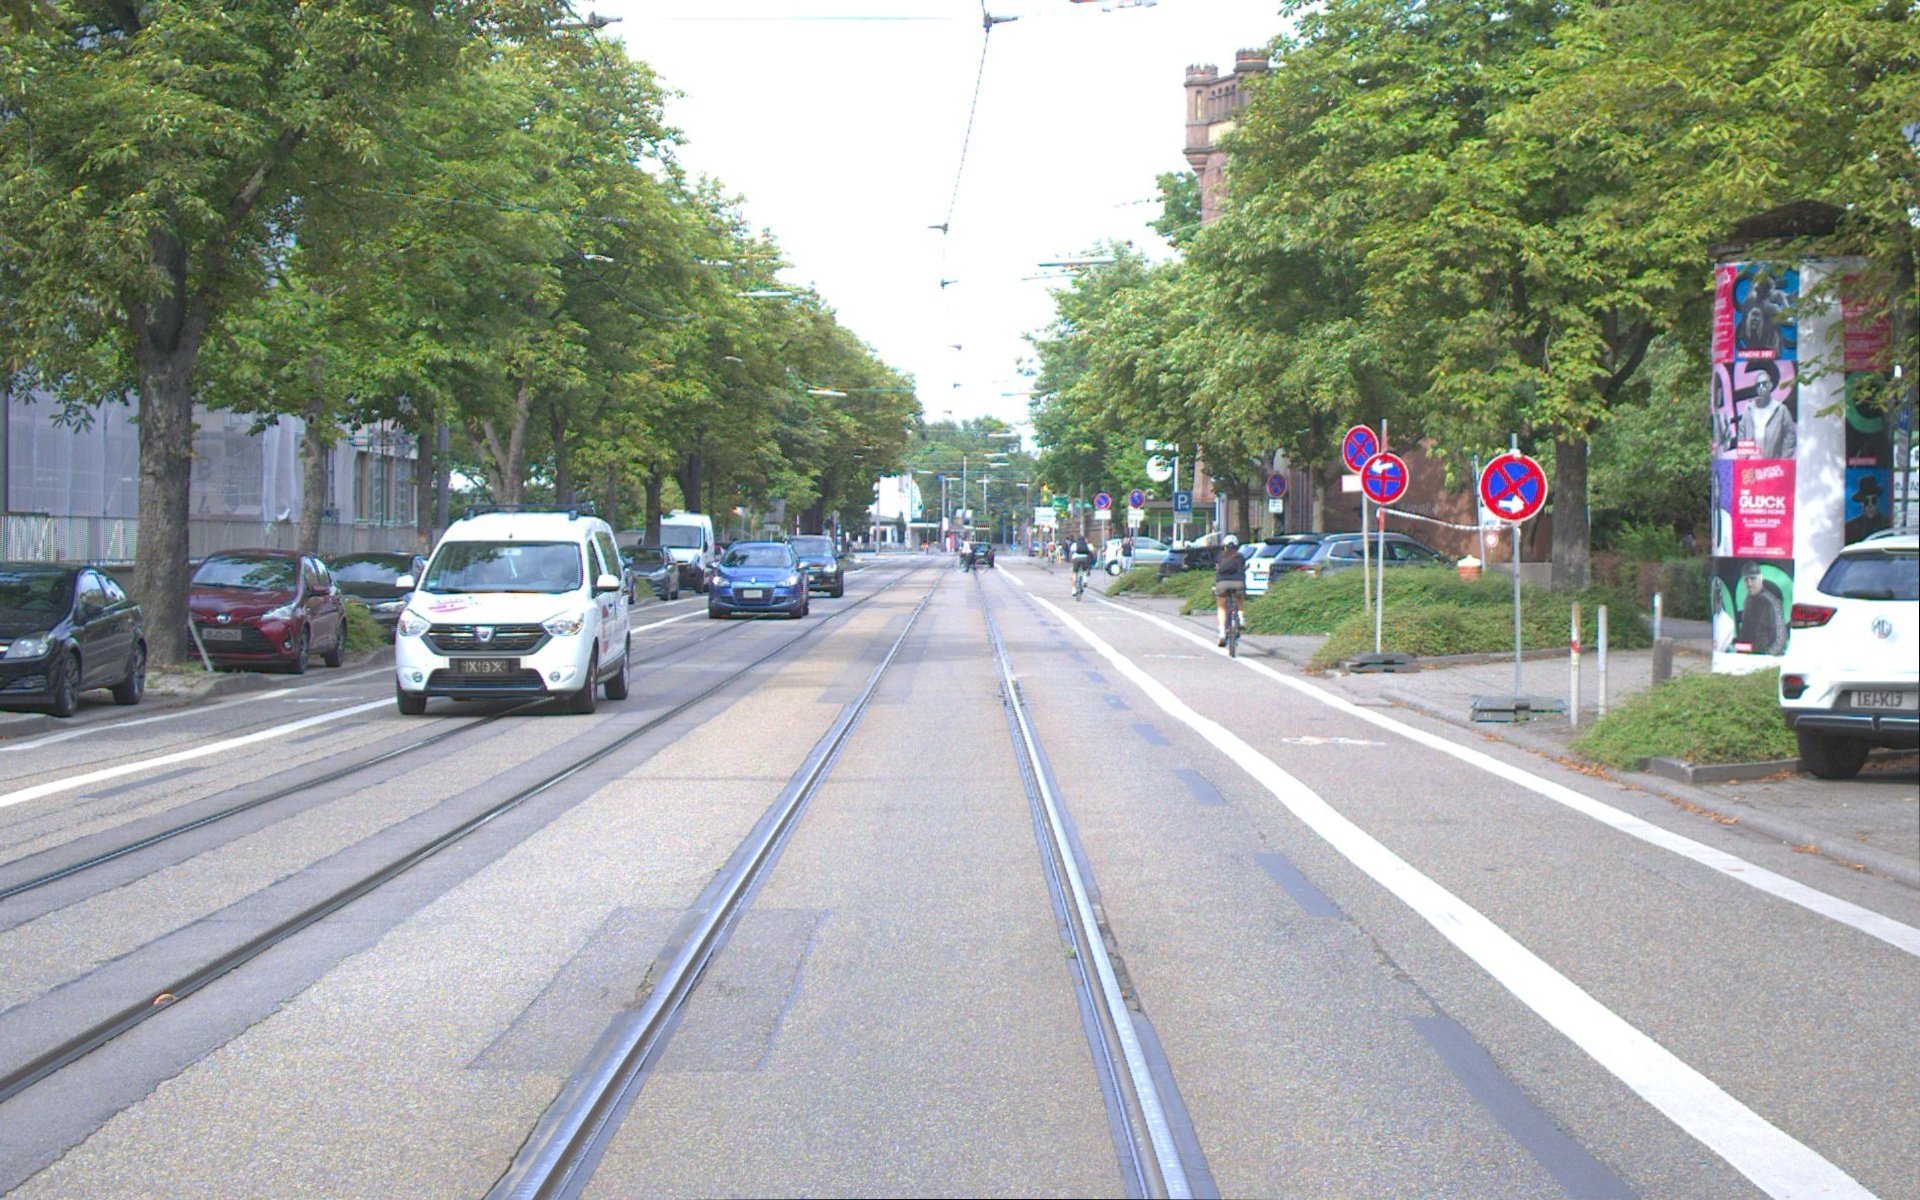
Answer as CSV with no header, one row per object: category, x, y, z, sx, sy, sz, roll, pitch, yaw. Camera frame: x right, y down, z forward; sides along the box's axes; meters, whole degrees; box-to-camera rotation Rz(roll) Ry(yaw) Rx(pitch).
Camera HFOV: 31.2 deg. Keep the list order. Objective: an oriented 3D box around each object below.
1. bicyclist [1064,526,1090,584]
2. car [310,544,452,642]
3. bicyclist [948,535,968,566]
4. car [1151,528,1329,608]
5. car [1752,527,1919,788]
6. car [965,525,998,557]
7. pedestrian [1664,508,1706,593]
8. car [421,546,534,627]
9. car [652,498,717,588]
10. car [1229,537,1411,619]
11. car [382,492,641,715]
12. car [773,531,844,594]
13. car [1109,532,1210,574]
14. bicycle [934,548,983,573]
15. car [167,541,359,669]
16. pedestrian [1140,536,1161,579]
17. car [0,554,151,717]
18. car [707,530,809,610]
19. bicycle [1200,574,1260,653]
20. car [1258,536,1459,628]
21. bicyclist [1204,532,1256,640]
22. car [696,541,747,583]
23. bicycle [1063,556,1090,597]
bicyclist,3.066,-1.181,90.140,0.659,1.491,0.929,1,1,1
car,-8.733,-0.131,52.115,1.590,1.398,3.963,1,1,-2
bicyclist,-0.105,-2.421,168.496,0.847,1.499,0.768,1,1,8
car,5.768,-0.653,70.536,1.681,1.597,3.637,1,1,45
car,6.918,0.343,22.551,1.681,1.597,3.637,1,1,45
car,1.254,-3.416,198.527,1.795,1.817,4.679,1,1,-1
pedestrian,15.713,-1.078,74.482,0.786,1.820,0.661,1,1,20
car,-8.729,-0.274,62.427,1.590,1.398,3.963,1,1,-2
car,-8.493,-1.760,106.481,1.720,2.695,5.471,1,1,-2
car,7.176,-0.440,68.390,1.681,1.597,3.637,1,1,45
car,-4.013,-0.015,31.384,1.732,1.878,4.378,1,1,1
car,-4.038,-1.035,91.957,1.732,1.623,4.378,-1,1,-1
car,8.381,-1.987,144.749,3.986,1.687,2.000,1,1,-5
bicycle,-0.062,-1.940,168.498,2.275,1.185,0.768,1,1,8
car,-8.645,0.028,42.915,1.635,1.491,3.963,1,1,-1
pedestrian,8.015,-1.780,144.657,0.748,1.783,0.730,1,0,15
car,-8.800,0.290,32.258,1.590,1.398,3.963,1,1,-2
car,-3.900,-0.609,66.993,1.732,1.491,4.378,0,1,0
bicycle,3.696,0.174,47.185,0.592,1.040,1.978,1,1,-2
car,7.154,-0.319,61.592,1.681,1.597,3.637,1,1,45
bicyclist,3.704,-0.199,47.180,0.592,1.454,0.875,1,1,-2
car,-8.242,-1.313,118.972,1.590,1.398,3.963,1,1,-2
bicycle,3.055,-0.625,90.141,0.663,1.040,1.841,1,1,1
